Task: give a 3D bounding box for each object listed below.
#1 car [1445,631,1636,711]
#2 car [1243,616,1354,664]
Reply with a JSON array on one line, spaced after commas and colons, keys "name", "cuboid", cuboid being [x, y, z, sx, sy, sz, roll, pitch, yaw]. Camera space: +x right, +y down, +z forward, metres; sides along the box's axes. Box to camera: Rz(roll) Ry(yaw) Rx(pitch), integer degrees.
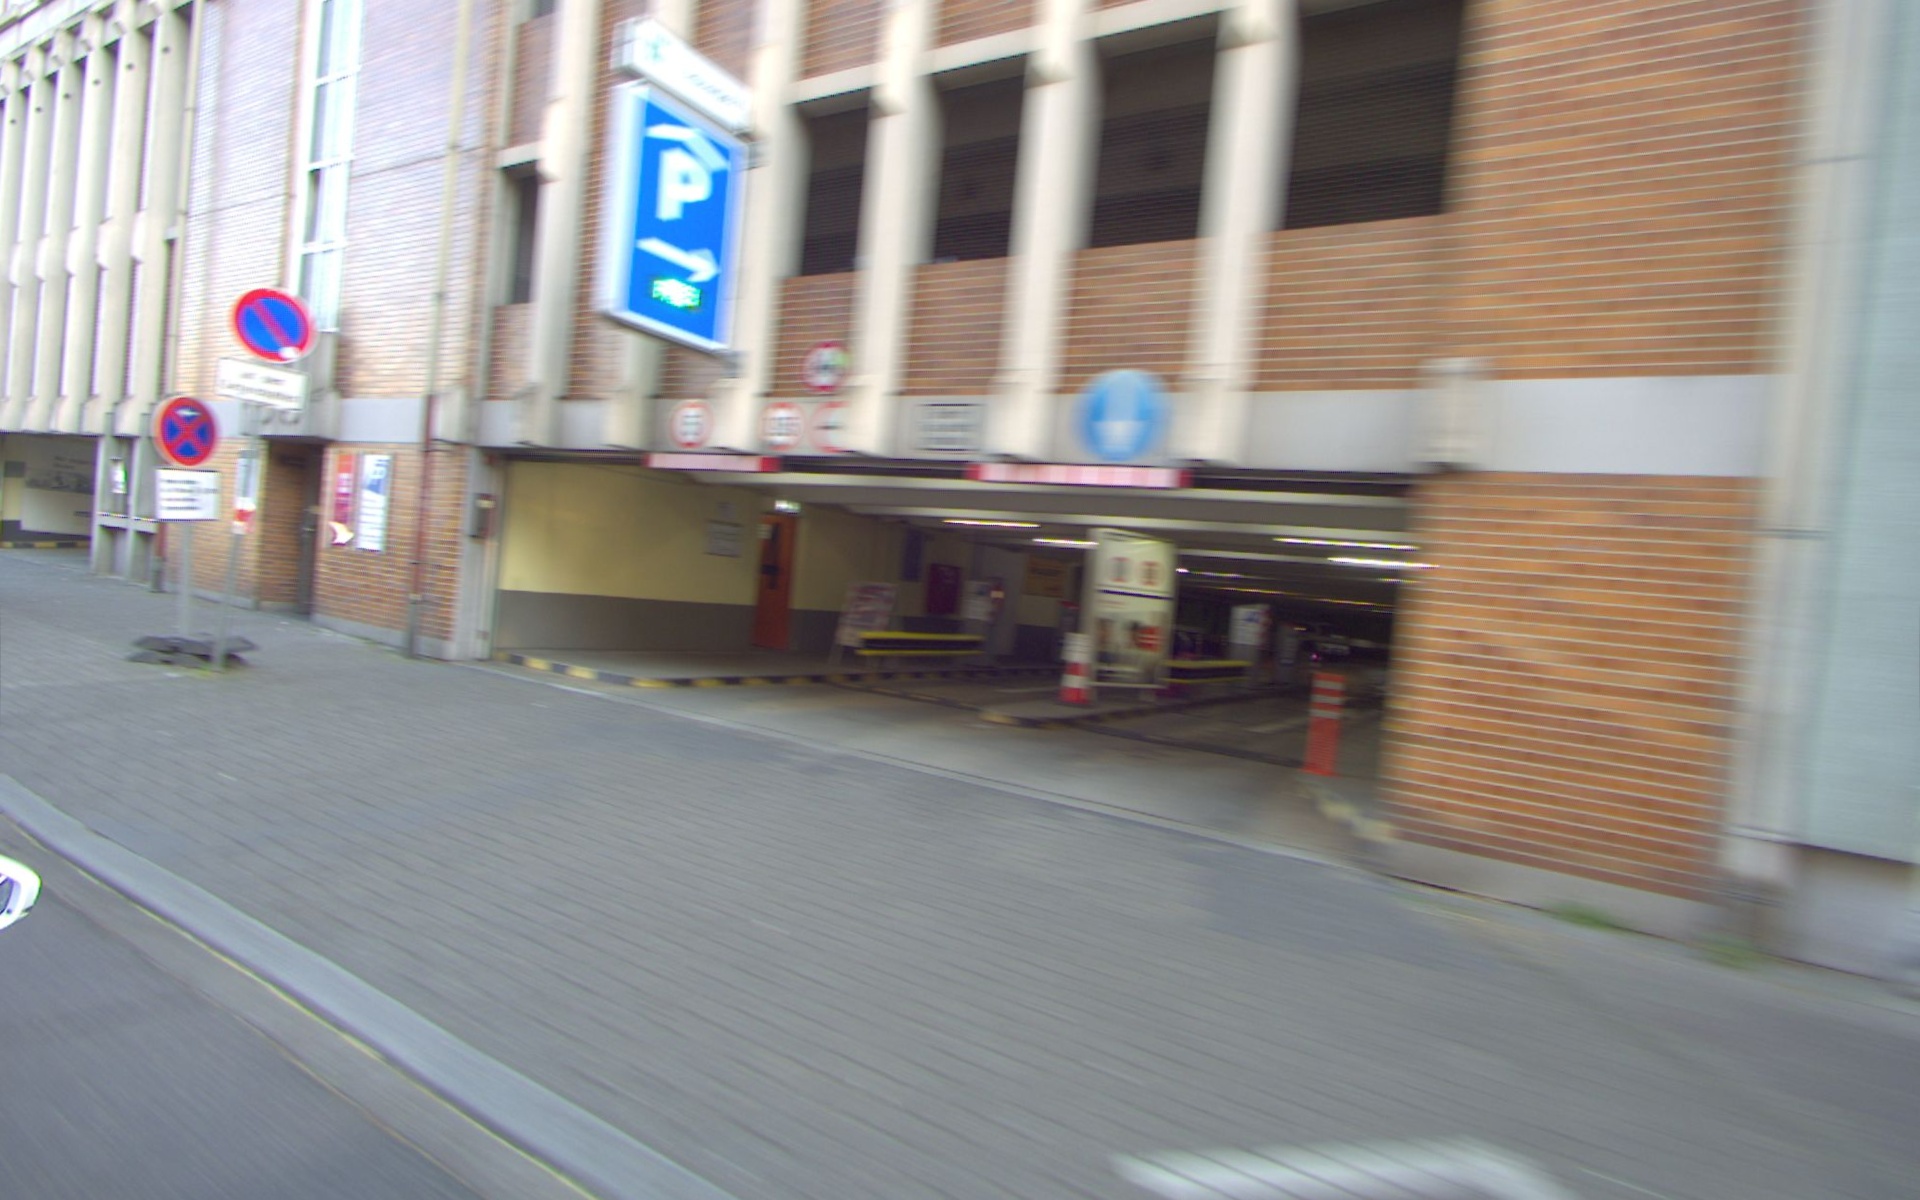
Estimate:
[{"name": "car", "cuboid": [14.688, 1.776, 25.518, 3.938, 1.465, 1.668, 6, -2, 36]}, {"name": "car", "cuboid": [13.743, 1.599, 41.021, 1.657, 1.465, 3.964, 8, -2, -34]}]
